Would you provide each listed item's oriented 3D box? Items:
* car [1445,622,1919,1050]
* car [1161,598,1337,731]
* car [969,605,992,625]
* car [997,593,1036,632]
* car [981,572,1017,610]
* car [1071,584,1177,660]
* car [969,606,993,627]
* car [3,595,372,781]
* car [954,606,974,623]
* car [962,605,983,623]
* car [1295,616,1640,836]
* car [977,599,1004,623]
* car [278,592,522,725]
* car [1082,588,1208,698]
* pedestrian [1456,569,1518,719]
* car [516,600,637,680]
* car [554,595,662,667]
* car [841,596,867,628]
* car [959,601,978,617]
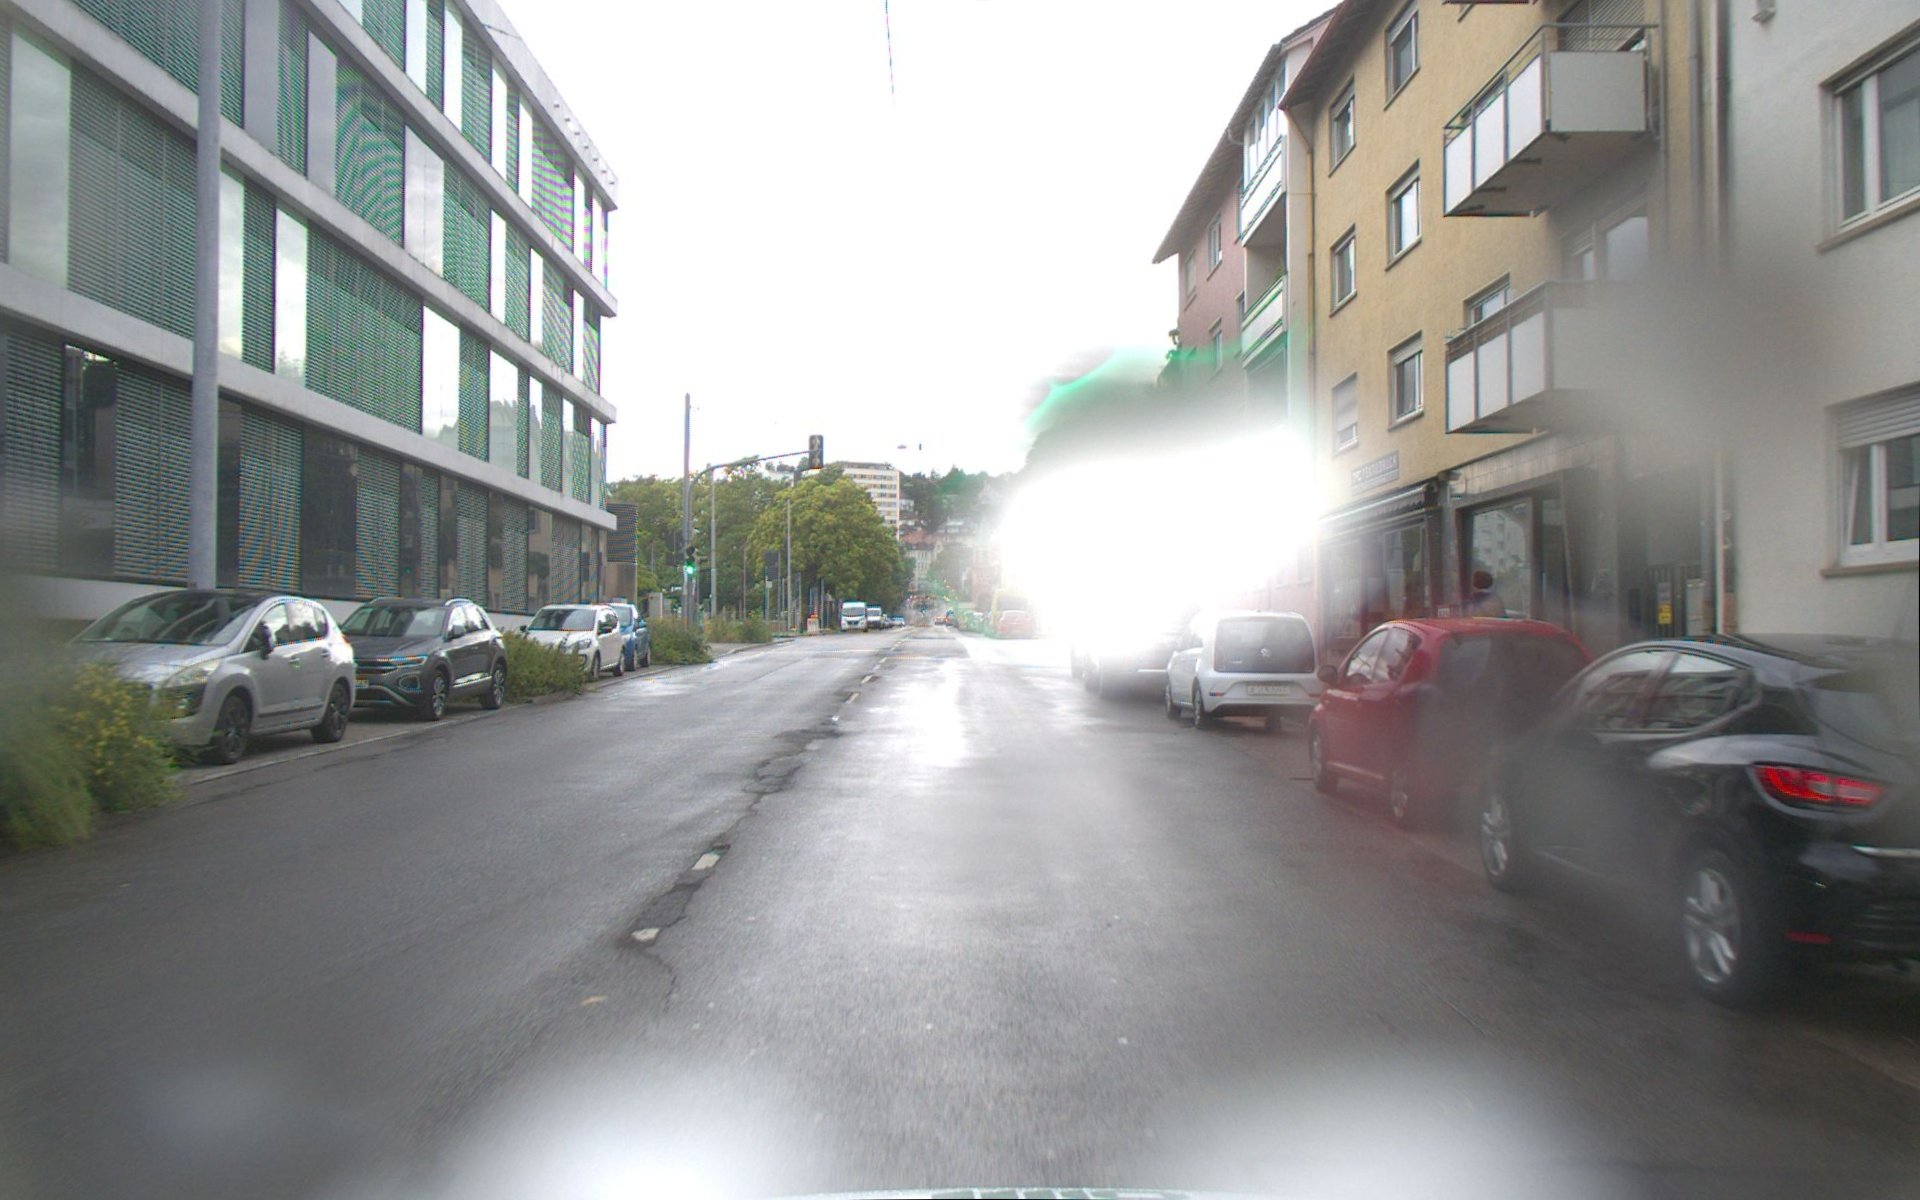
[{"bbox_3d":[3.802,0.887,7.985,1.671,1.480,3.983,1,0,-1],"label":"car"},{"bbox_3d":[3.729,0.781,21.915,1.602,1.598,3.710,1,0,-1],"label":"car"},{"bbox_3d":[1.733,1.222,139.810,1.828,1.632,4.190,1,0,2],"label":"car"},{"bbox_3d":[2.751,0.594,80.098,1.828,1.801,4.190,1,0,2],"label":"car"},{"bbox_3d":[2.125,-0.472,89.234,1.828,2.008,4.190,1,0,2],"label":"car"},{"bbox_3d":[3.364,0.413,34.502,1.745,1.435,3.762,-1,1,-1],"label":"car"},{"bbox_3d":[1.719,1.315,134.774,1.828,1.632,4.190,1,0,2],"label":"car"},{"bbox_3d":[-7.523,0.768,16.631,1.735,1.561,4.315,1,1,-1],"label":"car"},{"bbox_3d":[0.384,1.376,158.278,1.828,1.632,4.190,1,0,2],"label":"car"},{"bbox_3d":[1.165,1.259,150.123,1.828,1.632,4.190,1,0,2],"label":"car"},{"bbox_3d":[3.841,0.881,13.127,1.550,1.438,3.653,1,0,-1],"label":"car"},{"bbox_3d":[2.154,0.768,115.425,1.828,1.632,4.190,1,0,2],"label":"car"},{"bbox_3d":[-7.535,0.739,22.715,1.764,1.632,4.235,1,0,2],"label":"car"},{"bbox_3d":[3.127,0.697,28.643,1.621,1.768,4.178,0,0,-1],"label":"car"},{"bbox_3d":[6.800,0.565,21.343,0.626,1.903,0.538,1,0,1],"label":"pedestrian"},{"bbox_3d":[-7.783,0.775,33.886,1.562,1.485,3.719,1,1,1],"label":"car"},{"bbox_3d":[-8.225,0.684,38.945,1.829,1.552,4.194,1,1,-3],"label":"car"},{"bbox_3d":[-8.632,0.956,135.377,2.063,2.591,4.748,1,0,-3],"label":"car"},{"bbox_3d":[0.922,0.907,169.144,1.828,1.632,4.190,1,0,2],"label":"car"}]
